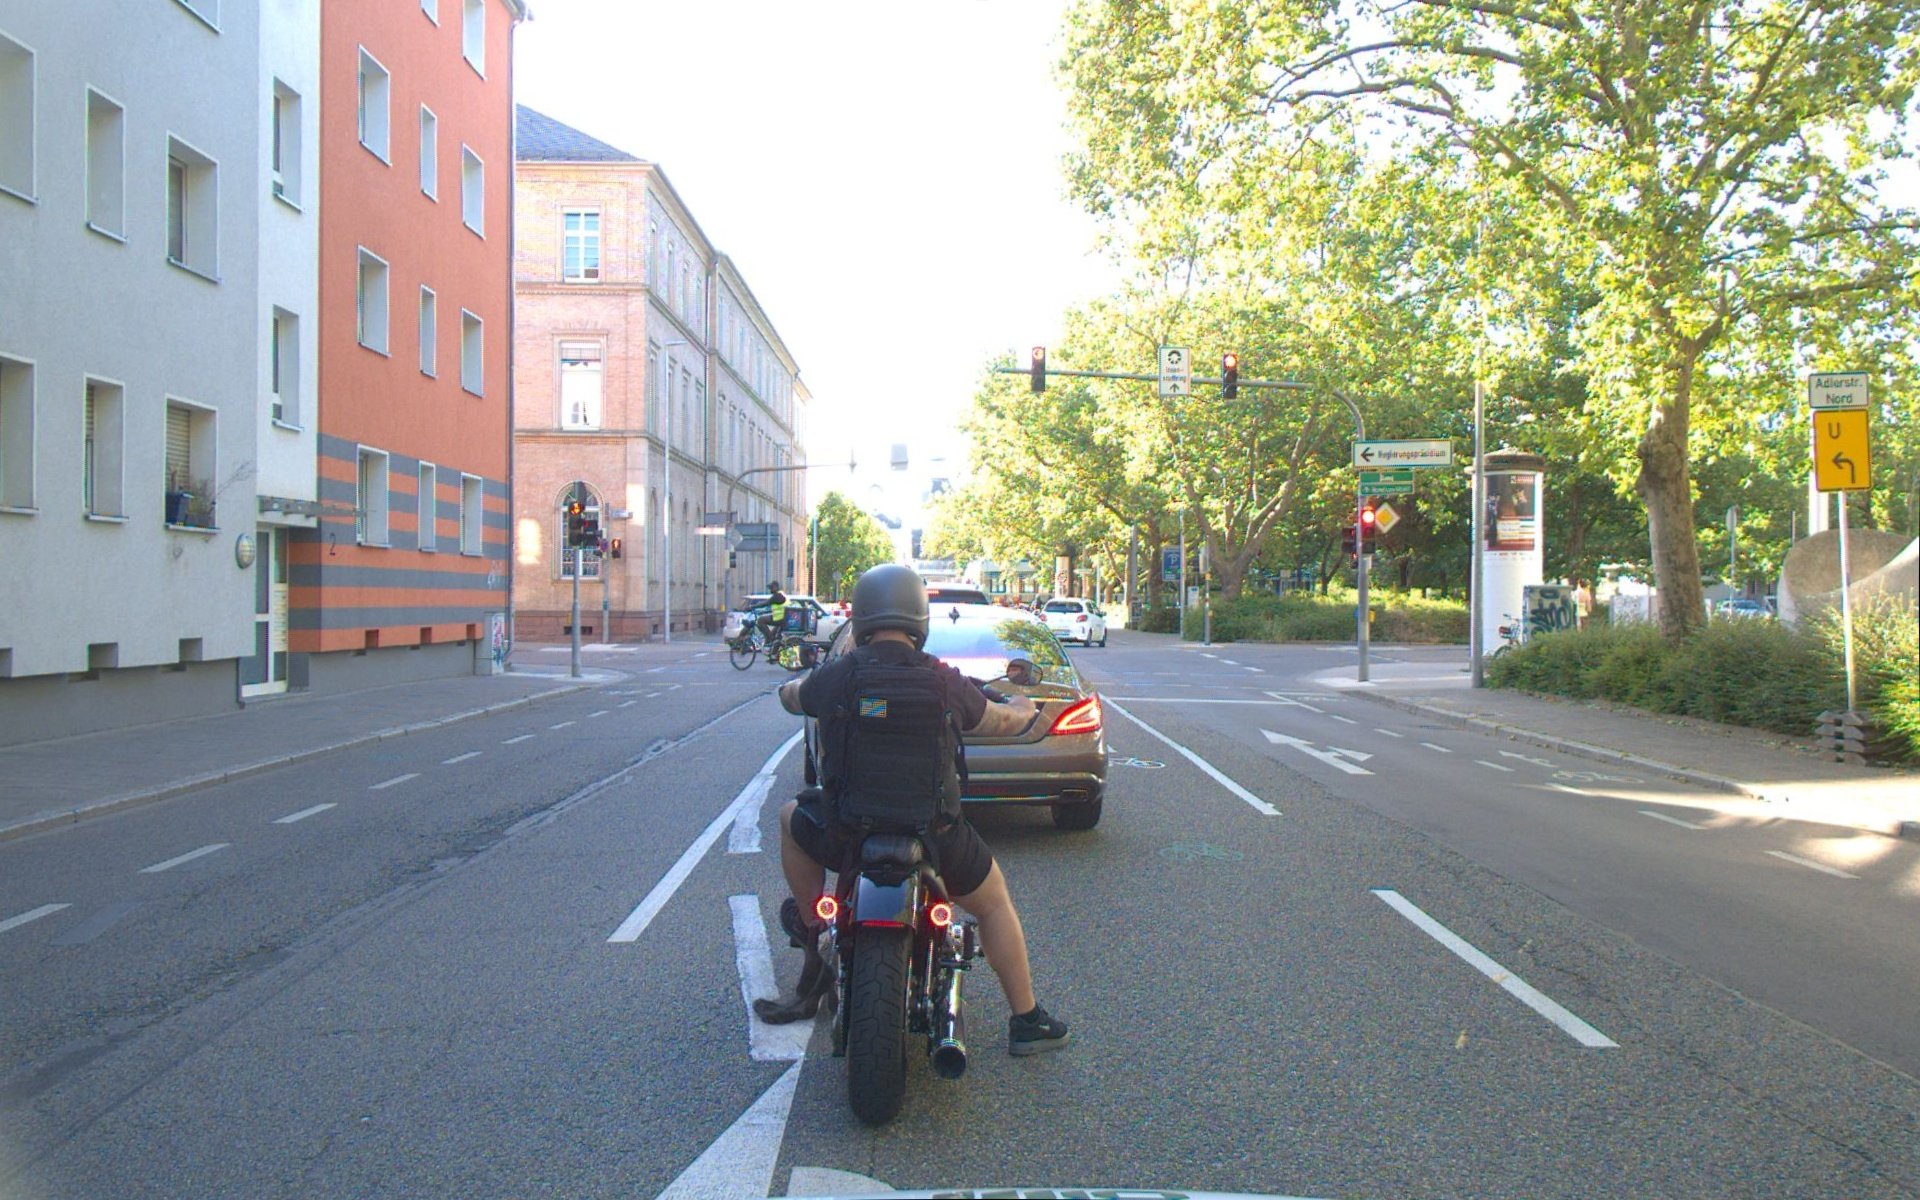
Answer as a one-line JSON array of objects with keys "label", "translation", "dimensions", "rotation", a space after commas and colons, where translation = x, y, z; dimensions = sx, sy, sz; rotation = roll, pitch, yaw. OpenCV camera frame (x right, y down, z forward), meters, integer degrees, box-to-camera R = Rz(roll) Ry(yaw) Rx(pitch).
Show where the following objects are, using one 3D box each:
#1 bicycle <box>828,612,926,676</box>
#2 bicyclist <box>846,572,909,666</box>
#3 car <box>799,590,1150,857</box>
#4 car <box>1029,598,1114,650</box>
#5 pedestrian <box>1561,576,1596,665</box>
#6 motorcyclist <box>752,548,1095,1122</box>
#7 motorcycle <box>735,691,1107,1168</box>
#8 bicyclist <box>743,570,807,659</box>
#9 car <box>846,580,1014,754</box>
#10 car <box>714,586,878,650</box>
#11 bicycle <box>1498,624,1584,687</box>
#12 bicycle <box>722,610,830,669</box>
[{"label": "bicycle", "translation": [-1.547, 0.802, 30.687], "dimensions": [1.845, 1.123, 0.702], "rotation": [0, 0, 41]}, {"label": "bicyclist", "translation": [-1.533, 0.347, 30.687], "dimensions": [0.947, 1.722, 0.702], "rotation": [0, 0, 40]}, {"label": "car", "translation": [-0.114, 0.686, 11.591], "dimensions": [1.909, 1.498, 4.355], "rotation": [0, 0, -7]}, {"label": "car", "translation": [3.447, 0.722, 50.492], "dimensions": [1.816, 1.512, 3.911], "rotation": [1, 0, 16]}, {"label": "pedestrian", "translation": [13.207, 0.424, 35.325], "dimensions": [0.540, 1.881, 0.593], "rotation": [0, 0, 0]}, {"label": "motorcyclist", "translation": [-0.114, 0.664, 5.397], "dimensions": [0.969, 1.625, 1.403], "rotation": [0, 0, -1]}, {"label": "motorcycle", "translation": [-0.118, 0.927, 5.551], "dimensions": [0.969, 1.097, 2.451], "rotation": [0, 0, -1]}, {"label": "bicyclist", "translation": [-3.665, 0.294, 32.799], "dimensions": [1.025, 1.724, 0.704], "rotation": [-1, -1, 30]}, {"label": "car", "translation": [-0.337, 0.621, 17.755], "dimensions": [1.580, 1.636, 4.327], "rotation": [0, 0, -2]}, {"label": "car", "translation": [-4.175, 0.453, 42.036], "dimensions": [3.837, 1.506, 1.817], "rotation": [-1, 0, -20]}, {"label": "bicycle", "translation": [9.761, 0.927, 27.794], "dimensions": [1.324, 1.041, 0.363], "rotation": [0, 0, 0]}, {"label": "bicycle", "translation": [-3.661, 0.779, 32.790], "dimensions": [2.116, 1.123, 0.704], "rotation": [-1, -1, 30]}]
